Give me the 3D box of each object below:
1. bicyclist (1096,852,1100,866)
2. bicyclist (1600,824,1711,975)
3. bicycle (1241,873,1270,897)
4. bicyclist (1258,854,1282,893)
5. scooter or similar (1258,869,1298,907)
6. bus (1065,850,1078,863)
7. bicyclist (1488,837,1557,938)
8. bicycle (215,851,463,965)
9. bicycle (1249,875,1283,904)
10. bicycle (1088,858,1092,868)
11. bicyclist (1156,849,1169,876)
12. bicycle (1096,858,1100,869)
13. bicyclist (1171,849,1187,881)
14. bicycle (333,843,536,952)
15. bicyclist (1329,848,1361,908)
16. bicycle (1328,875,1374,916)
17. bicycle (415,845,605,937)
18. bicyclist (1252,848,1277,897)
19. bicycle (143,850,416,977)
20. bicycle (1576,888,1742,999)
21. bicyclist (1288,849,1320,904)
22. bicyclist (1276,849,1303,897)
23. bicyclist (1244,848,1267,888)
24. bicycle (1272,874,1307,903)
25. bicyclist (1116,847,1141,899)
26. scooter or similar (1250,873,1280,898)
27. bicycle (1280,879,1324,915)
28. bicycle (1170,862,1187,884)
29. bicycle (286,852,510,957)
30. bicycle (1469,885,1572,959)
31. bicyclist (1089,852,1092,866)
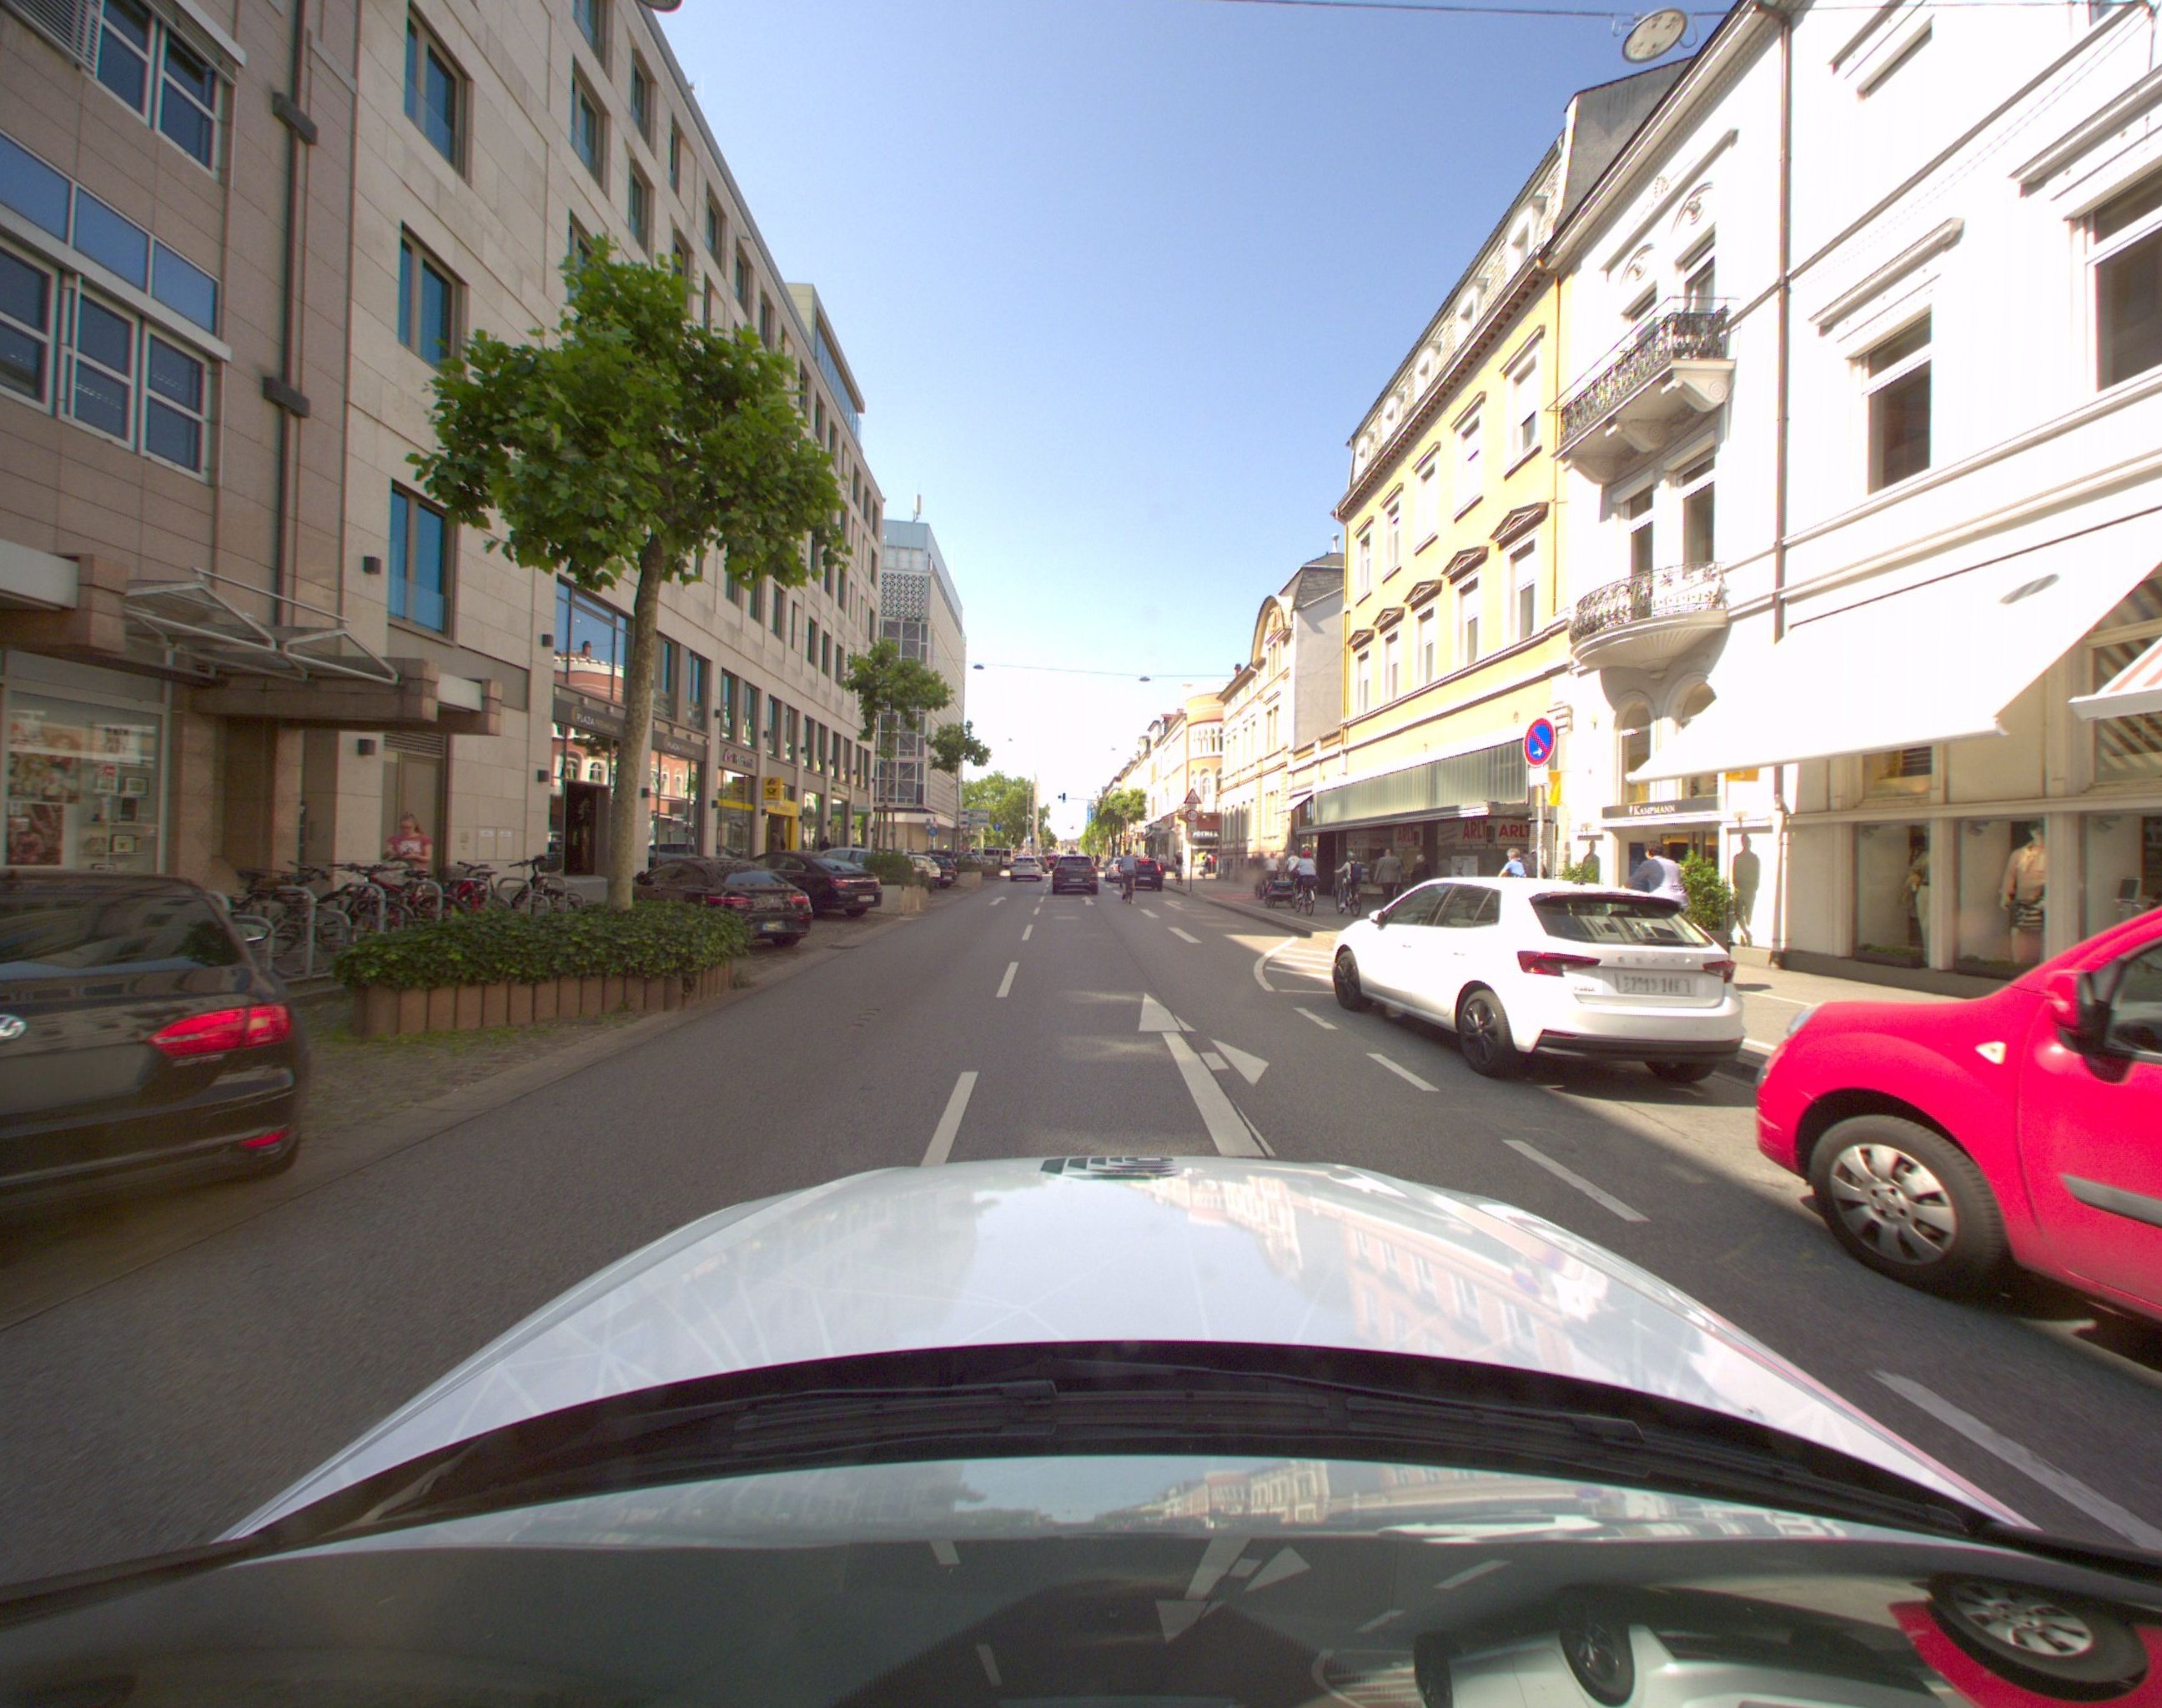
[{"bbox_3d":[1.951,0.544,93.099,0.418,1.630,0.709,1,0,0],"label":"bicyclist"},{"bbox_3d":[7.078,0.534,10.081,0.645,1.769,1.013,1,0,-1],"label":"bicyclist"},{"bbox_3d":[6.920,1.224,32.396,0.737,0.879,2.138,1,0,0],"label":"bicycle"},{"bbox_3d":[6.165,0.618,26.591,0.621,1.248,0.607,1,0,0],"label":"bicyclist"},{"bbox_3d":[6.088,1.043,25.254,0.868,1.122,1.621,0,0,0],"label":"scooter or similar"},{"bbox_3d":[-2.614,0.657,223.912,2.765,3.605,8.959,1,0,-4],"label":"bus"},{"bbox_3d":[7.620,0.559,14.087,0.645,1.684,1.013,1,0,-1],"label":"bicyclist"},{"bbox_3d":[-8.252,0.602,9.121,2.064,1.130,0.462,4,-1,-9],"label":"bicycle"},{"bbox_3d":[6.170,1.160,27.266,0.644,0.879,2.389,1,0,1],"label":"bicycle"},{"bbox_3d":[1.085,1.069,95.472,0.418,1.135,1.910,1,0,1],"label":"bicycle"},{"bbox_3d":[5.201,0.520,51.992,0.692,1.673,0.835,3,1,-1],"label":"bicyclist"},{"bbox_3d":[1.944,1.081,93.019,0.418,1.135,1.910,1,0,1],"label":"bicycle"},{"bbox_3d":[5.230,0.579,43.457,0.692,1.674,0.835,1,-3,-1],"label":"bicyclist"},{"bbox_3d":[-8.343,0.565,10.560,2.064,1.288,0.366,4,-1,-9],"label":"bicycle"},{"bbox_3d":[7.194,0.643,22.211,0.580,1.595,0.920,1,0,0],"label":"bicyclist"},{"bbox_3d":[7.250,1.102,21.940,0.561,0.996,2.103,1,0,0],"label":"bicycle"},{"bbox_3d":[-8.339,0.549,12.010,2.070,1.219,0.755,4,-1,-18],"label":"bicycle"},{"bbox_3d":[6.188,0.617,27.471,0.630,1.595,0.920,1,-1,0],"label":"bicyclist"},{"bbox_3d":[-8.168,0.597,8.359,2.059,1.130,0.617,4,-1,-1],"label":"bicycle"},{"bbox_3d":[7.058,1.040,10.093,0.553,1.120,2.072,-1,0,-1],"label":"bicycle"},{"bbox_3d":[6.080,0.597,22.255,0.623,1.476,0.889,1,0,0],"label":"bicyclist"},{"bbox_3d":[7.035,0.635,27.480,0.655,1.595,0.920,1,-1,0],"label":"bicyclist"},{"bbox_3d":[6.938,0.549,32.478,0.707,1.595,0.963,1,0,0],"label":"bicyclist"},{"bbox_3d":[7.028,1.150,27.564,0.644,0.879,2.103,1,0,0],"label":"bicycle"},{"bbox_3d":[1.579,0.630,27.157,0.692,1.673,0.915,3,1,-1],"label":"bicyclist"},{"bbox_3d":[6.919,1.180,30.697,0.850,0.919,1.164,1,0,0],"label":"scooter or similar"},{"bbox_3d":[6.069,1.165,22.447,0.644,0.879,2.103,1,0,0],"label":"bicycle"},{"bbox_3d":[5.202,0.995,43.506,0.553,1.120,2.242,3,0,-1],"label":"bicycle"},{"bbox_3d":[-8.230,0.612,9.875,2.064,1.130,0.462,4,-1,-9],"label":"bicycle"},{"bbox_3d":[7.592,1.136,14.192,0.645,1.120,2.102,1,0,0],"label":"bicycle"},{"bbox_3d":[1.104,0.633,95.335,0.418,1.630,0.669,1,0,0],"label":"bicyclist"}]
